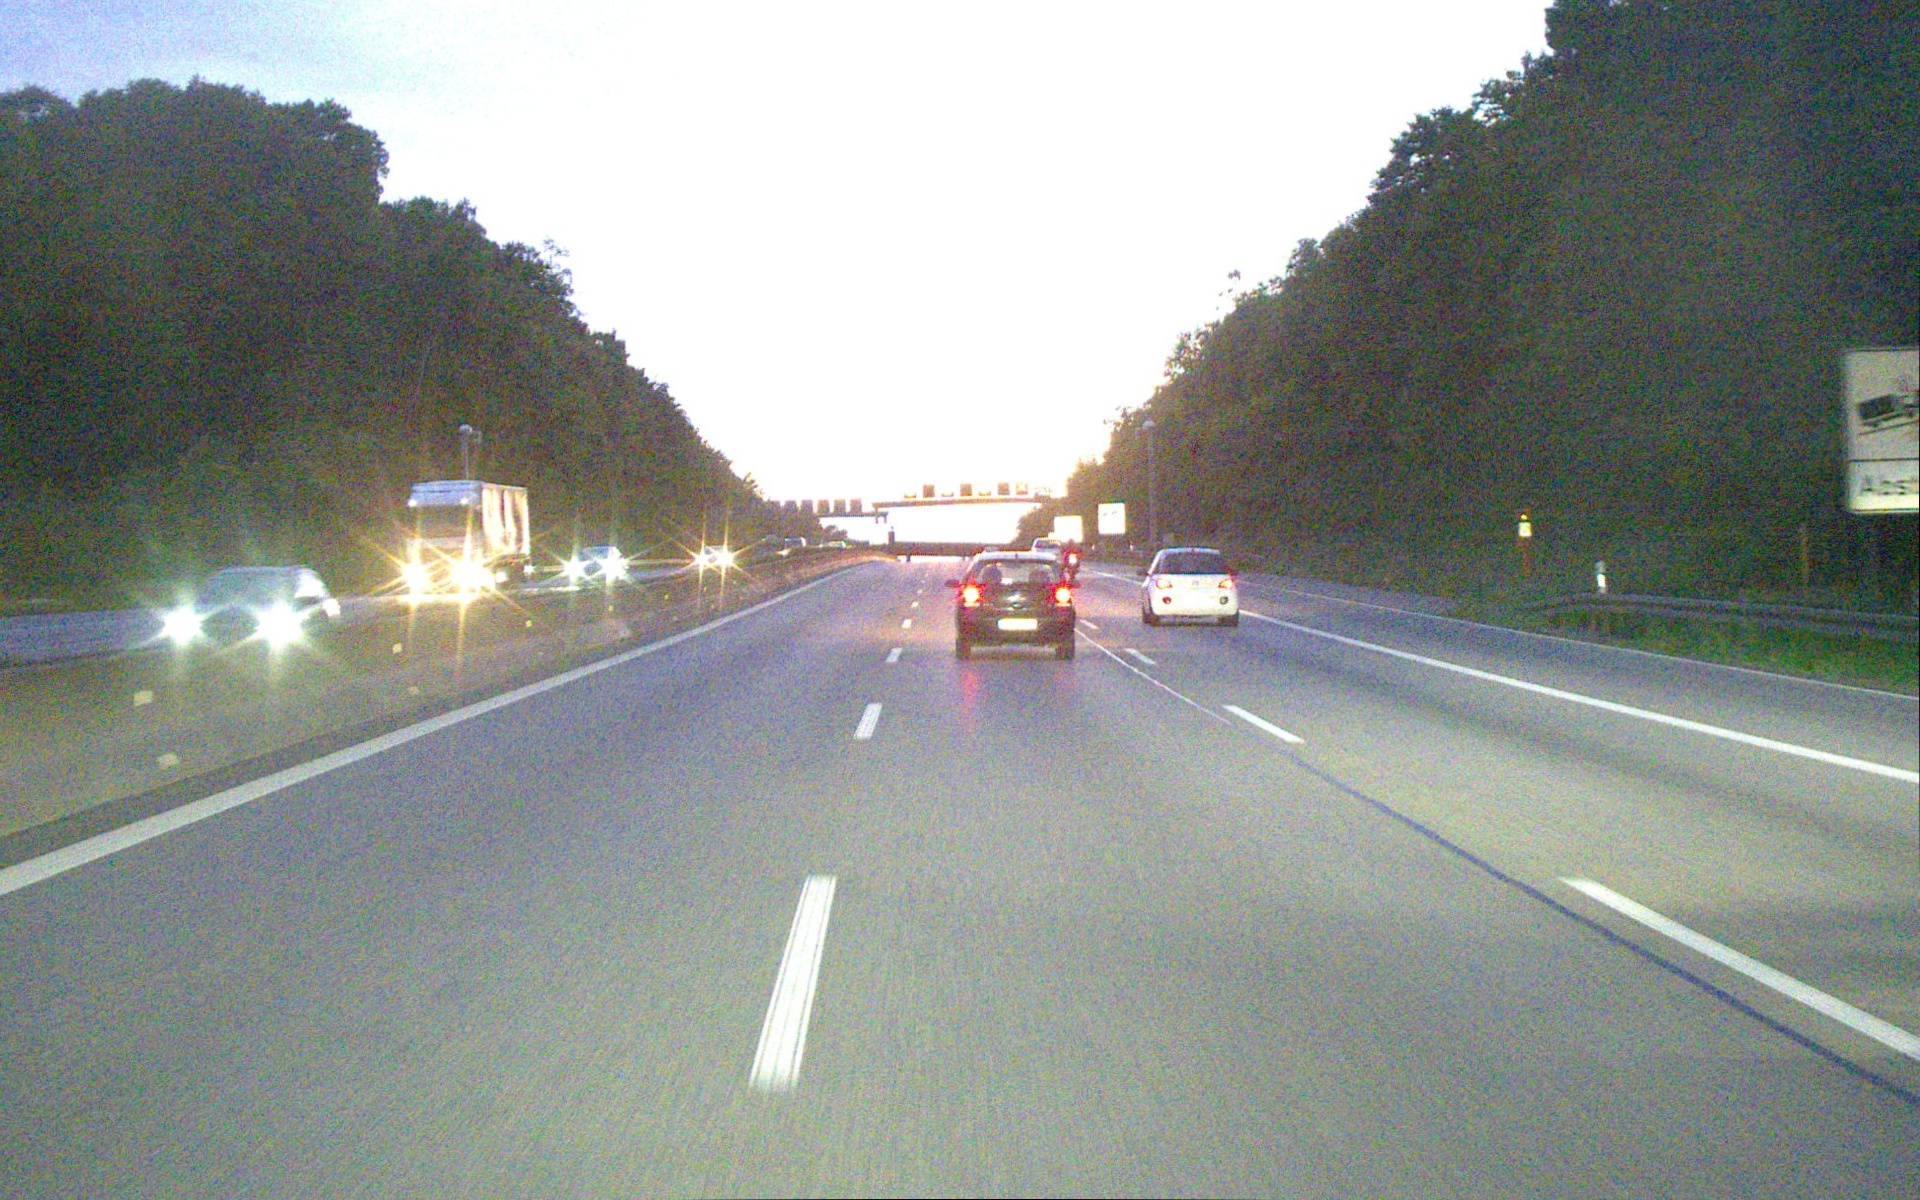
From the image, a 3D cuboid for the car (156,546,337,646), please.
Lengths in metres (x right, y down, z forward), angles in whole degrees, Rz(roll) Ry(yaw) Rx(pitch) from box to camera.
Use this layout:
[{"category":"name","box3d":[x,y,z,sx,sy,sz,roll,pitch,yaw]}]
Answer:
[{"category":"car","box3d":[-10.361,-0.099,50.222,1.850,1.377,4.645,0,1,-2]}]

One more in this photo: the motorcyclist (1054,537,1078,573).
[{"category":"motorcyclist","box3d":[3.818,-1.628,124.084,0.829,1.287,1.190,-1,0,0]}]

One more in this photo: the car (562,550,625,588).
[{"category":"car","box3d":[-14.585,-1.253,137.035,1.910,1.446,5.354,0,1,0]}]

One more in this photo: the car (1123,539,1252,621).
[{"category":"car","box3d":[4.318,-0.363,65.803,1.825,1.471,4.399,1,0,-5]}]

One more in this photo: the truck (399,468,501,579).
[{"category":"truck","box3d":[-18.709,-2.801,126.528,2.647,3.958,7.122,0,1,0]}]

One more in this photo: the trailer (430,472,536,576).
[{"category":"trailer","box3d":[-18.676,-2.952,135.169,2.647,3.917,10.186,0,1,0]}]

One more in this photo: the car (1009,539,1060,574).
[{"category":"car","box3d":[3.368,-1.963,156.514,1.865,1.489,4.399,1,0,-5]}]

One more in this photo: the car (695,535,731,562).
[{"category":"car","box3d":[-14.979,-3.122,208.956,1.880,1.569,4.655,-1,1,-1]}]

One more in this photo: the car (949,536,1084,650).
[{"category":"car","box3d":[0.757,-0.086,48.273,1.704,1.504,4.232,1,0,-1]}]
